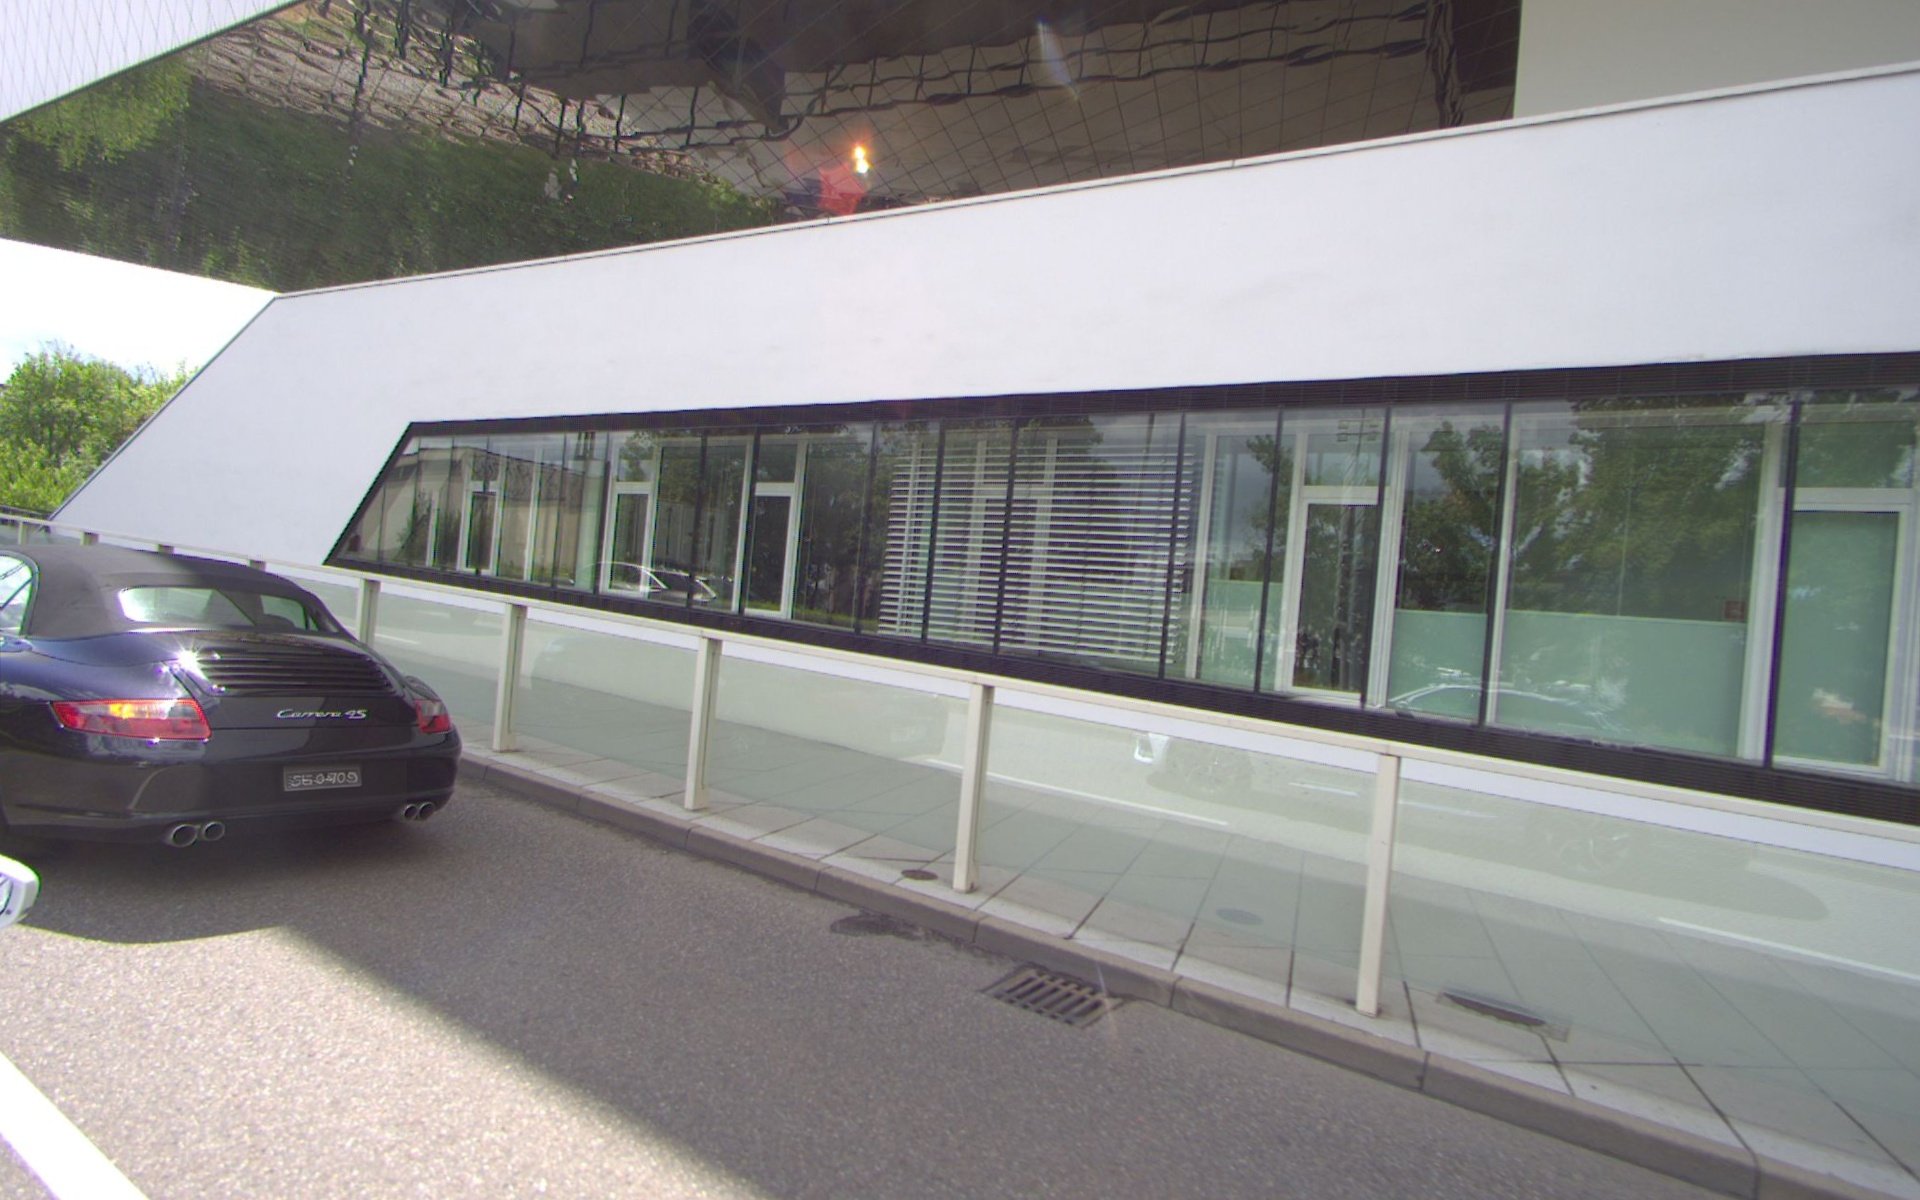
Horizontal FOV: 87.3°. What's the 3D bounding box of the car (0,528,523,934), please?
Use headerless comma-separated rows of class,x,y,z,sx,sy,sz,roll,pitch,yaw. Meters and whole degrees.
car,-4.339,0.384,5.215,4.020,1.290,1.723,6,-1,32
